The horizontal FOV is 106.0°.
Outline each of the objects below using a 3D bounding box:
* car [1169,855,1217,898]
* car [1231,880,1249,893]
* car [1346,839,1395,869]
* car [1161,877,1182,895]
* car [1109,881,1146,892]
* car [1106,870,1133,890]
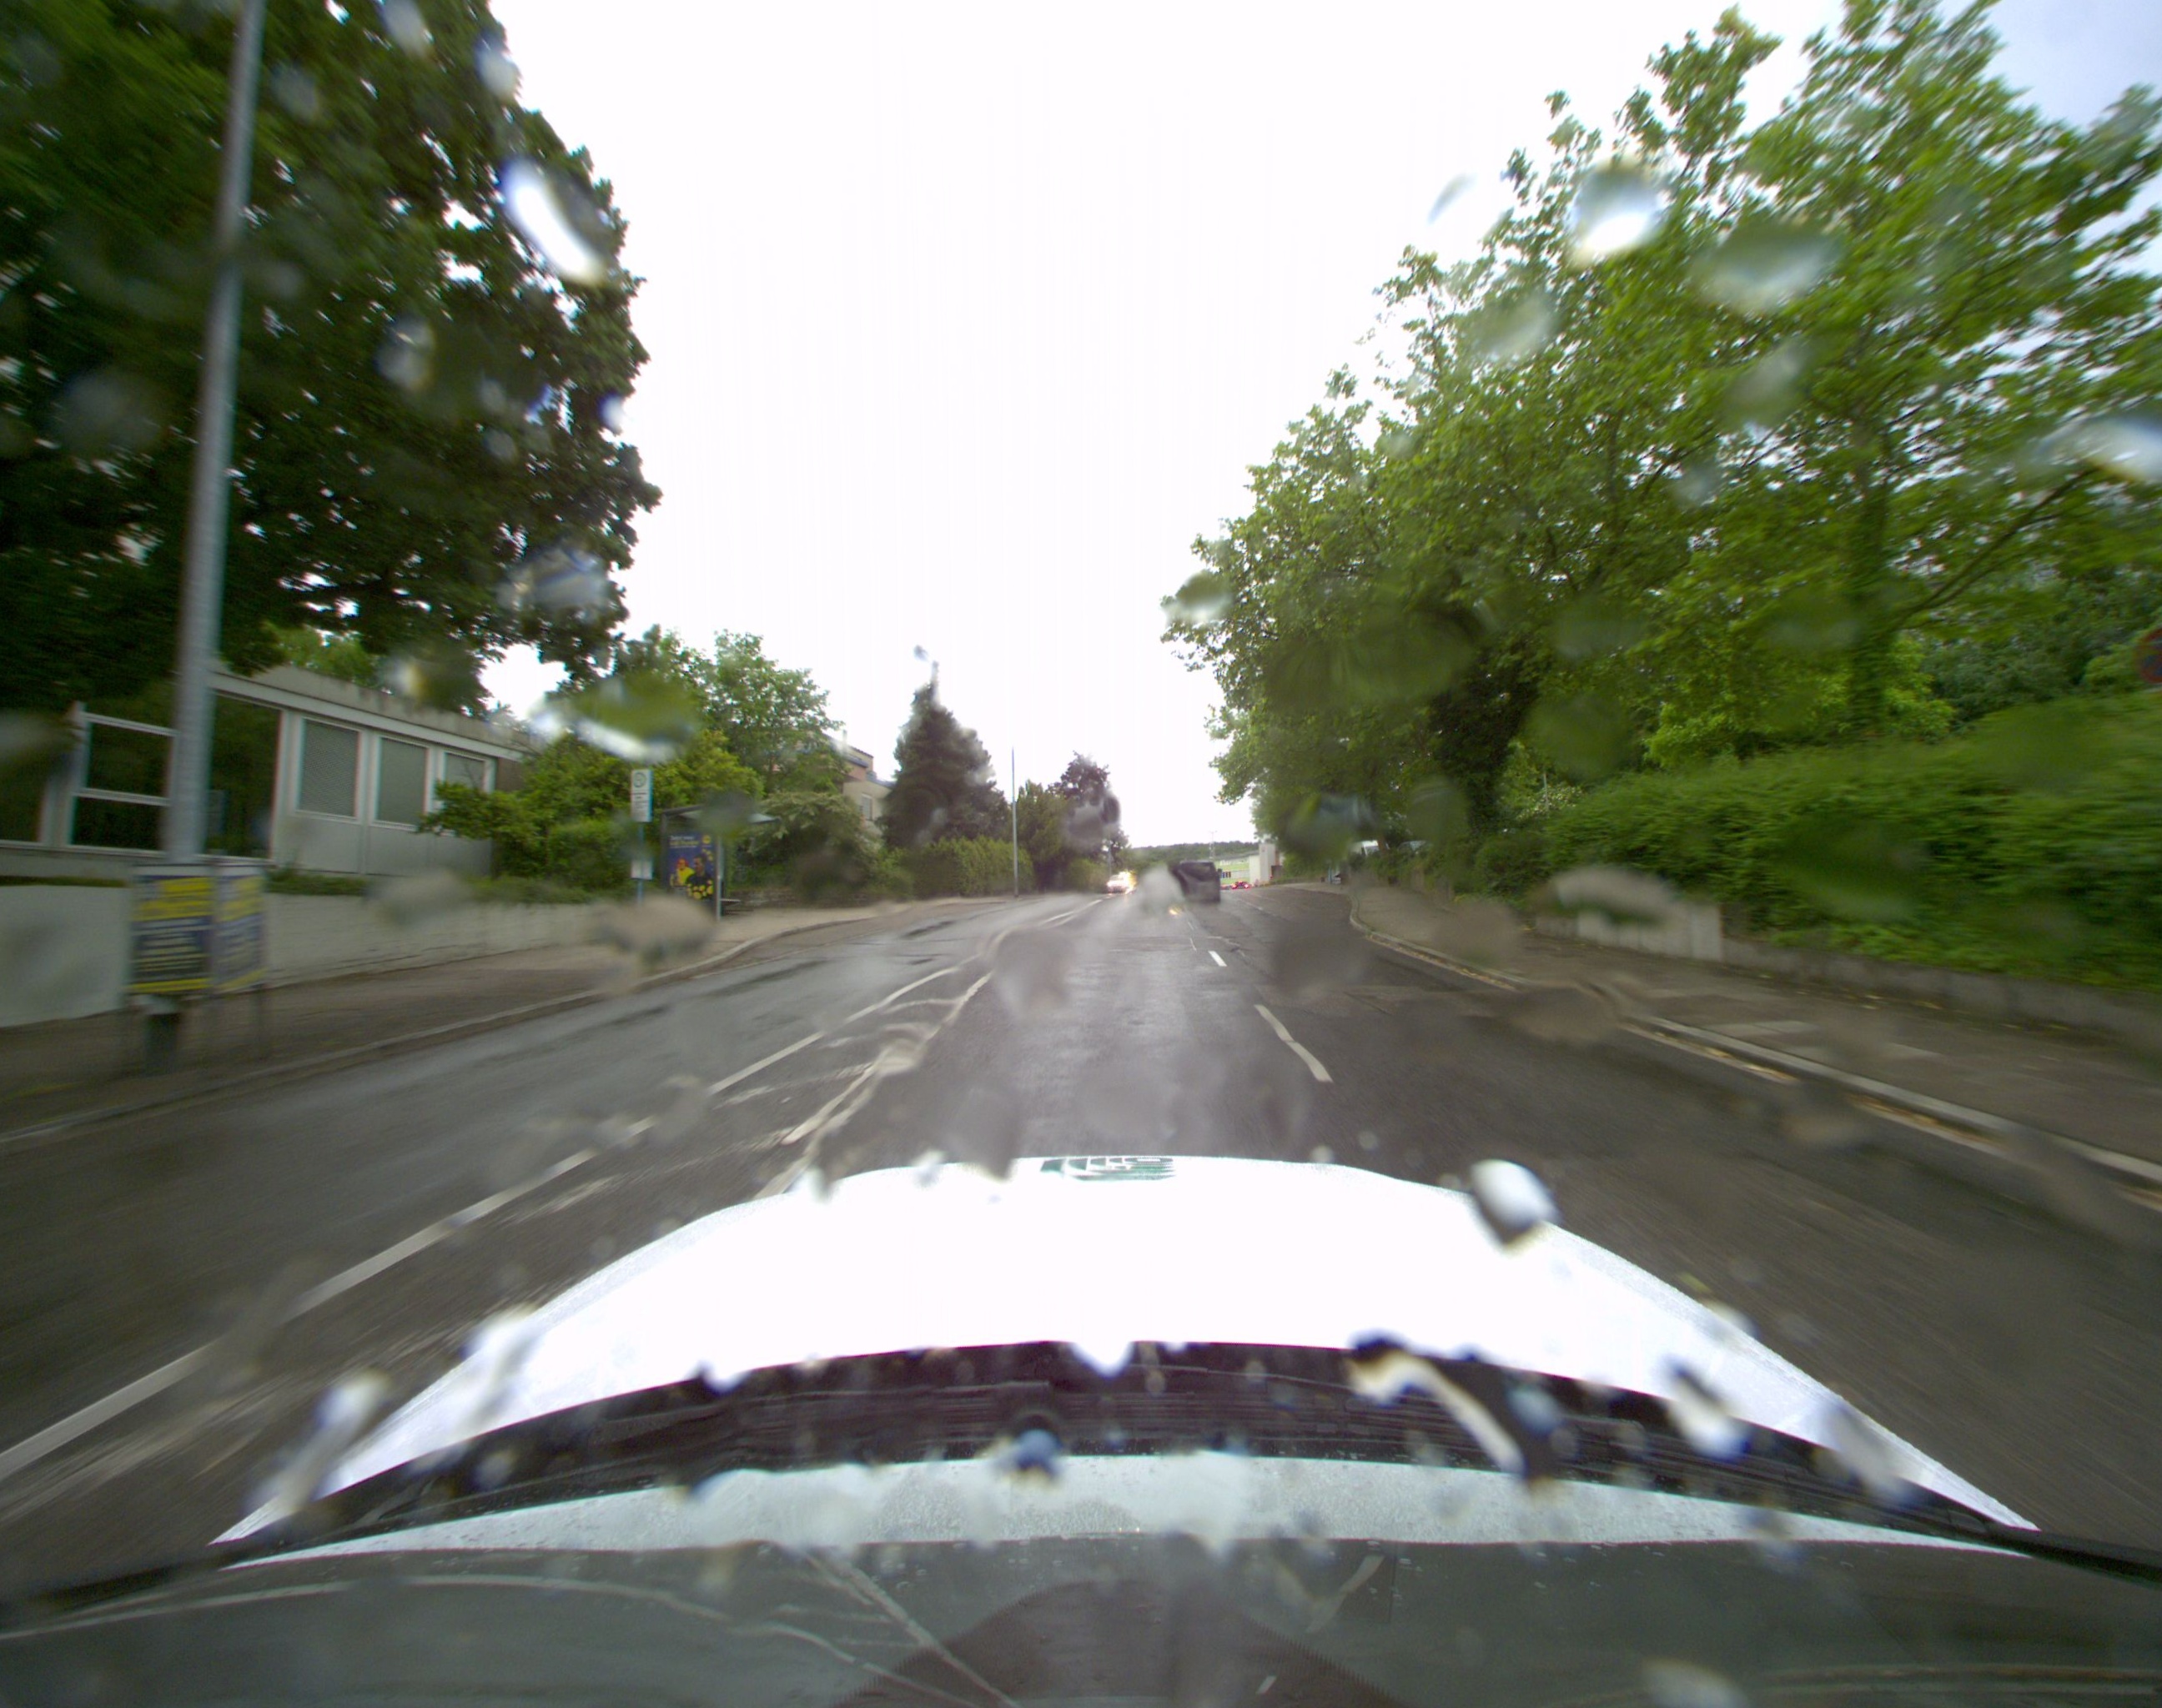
[{"bbox_3d":[4.385,0.835,32.163,1.780,1.603,4.261,0,0,7],"label":"car"},{"bbox_3d":[18.050,3.704,92.638,1.981,1.442,4.010,-1,-2,10],"label":"car"},{"bbox_3d":[22.527,0.016,63.578,2.038,2.284,5.016,-1,0,0],"label":"car"},{"bbox_3d":[10.572,3.684,95.200,1.851,1.917,5.044,-4,-3,11],"label":"car"},{"bbox_3d":[5.758,4.043,100.629,4.457,1.362,1.809,-1,-3,8],"label":"car"},{"bbox_3d":[2.977,1.993,62.692,1.676,1.454,3.405,-2,-1,8],"label":"car"}]
